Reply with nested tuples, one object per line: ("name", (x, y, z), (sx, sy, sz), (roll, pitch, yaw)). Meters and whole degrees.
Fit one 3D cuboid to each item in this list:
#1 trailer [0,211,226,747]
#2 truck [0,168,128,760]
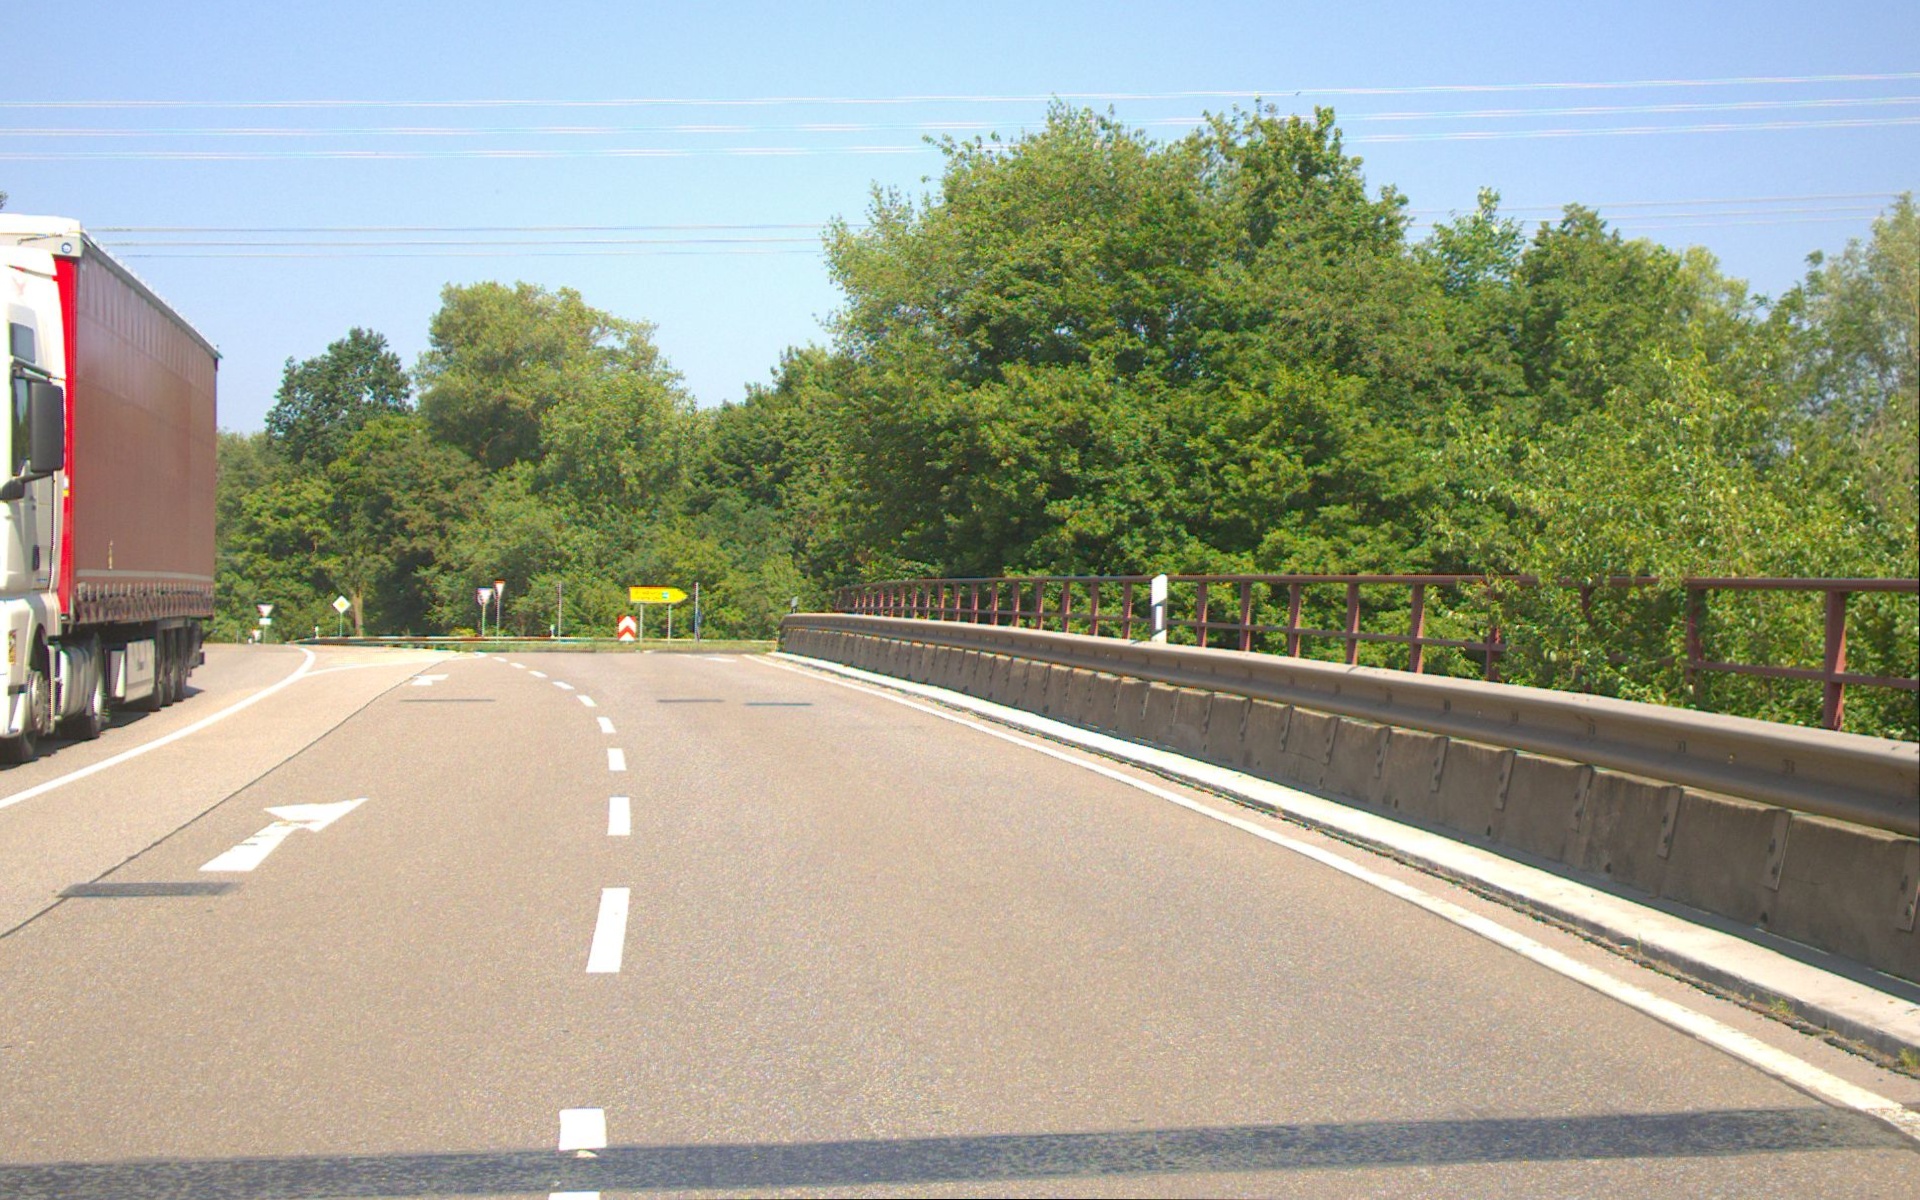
("trailer", (-8.976, -0.949, 32.884), (2.767, 4.048, 14.203), (0, 0, -8))
("truck", (-8.040, -0.929, 26.062), (2.768, 4.020, 5.857), (0, 0, -8))
